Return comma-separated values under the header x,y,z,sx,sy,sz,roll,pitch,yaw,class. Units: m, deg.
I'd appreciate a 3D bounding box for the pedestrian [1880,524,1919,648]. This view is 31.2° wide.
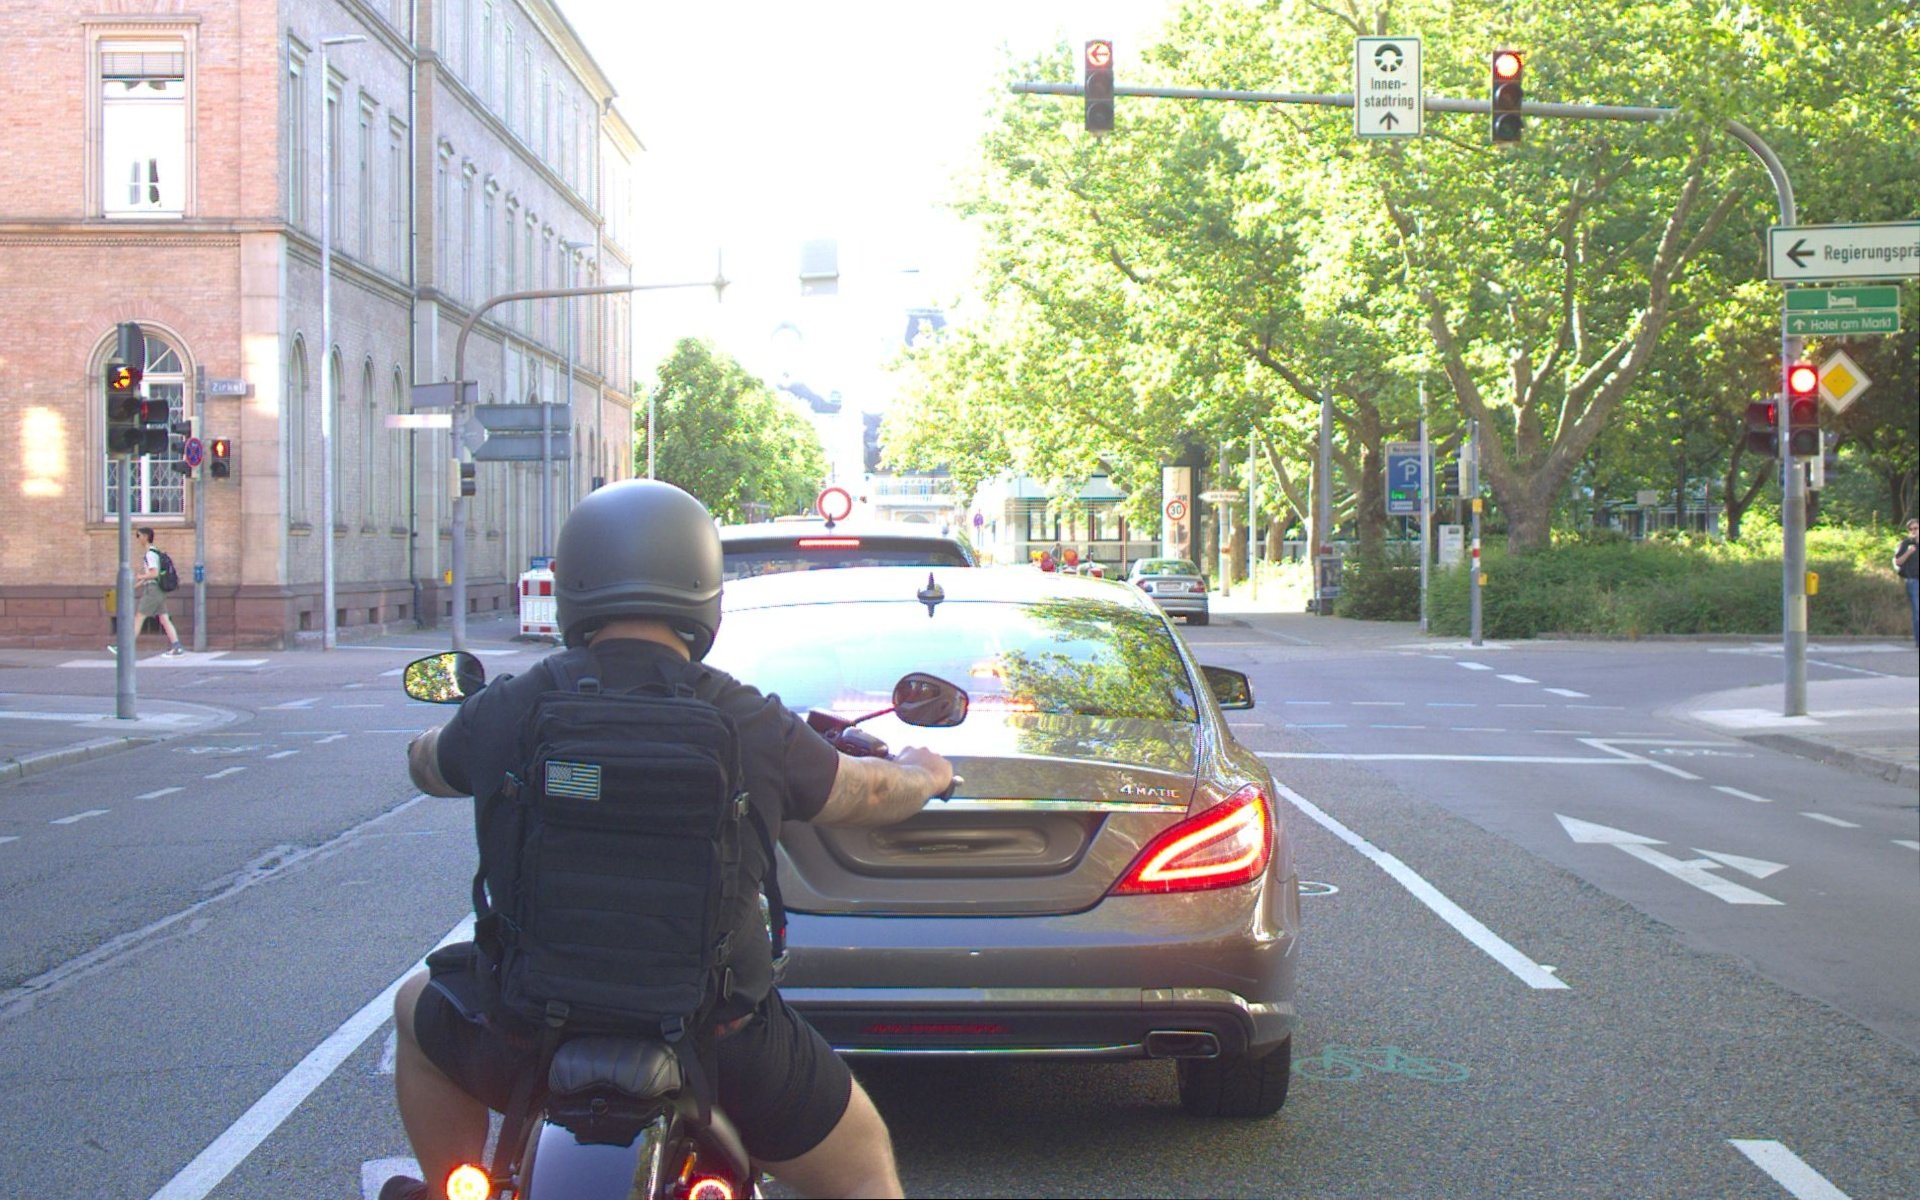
x,y,z,sx,sy,sz,roll,pitch,yaw,class
13.783,-0.207,49.703,0.737,1.772,0.728,1,0,30,pedestrian

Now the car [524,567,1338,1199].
x,y,z,sx,sy,sz,roll,pitch,yaw,class
-0.087,0.638,9.679,1.822,1.432,3.806,1,1,-1,car

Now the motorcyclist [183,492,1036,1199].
x,y,z,sx,sy,sz,roll,pitch,yaw,class
-0.485,0.633,5.291,1.099,1.560,1.071,1,0,6,motorcyclist

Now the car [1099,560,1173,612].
x,y,z,sx,sy,sz,roll,pitch,yaw,class
4.451,-0.367,87.228,1.631,1.255,3.716,1,1,-1,car

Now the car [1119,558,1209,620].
x,y,z,sx,sy,sz,roll,pitch,yaw,class
4.299,-0.239,72.737,1.631,1.255,3.716,1,1,-1,car

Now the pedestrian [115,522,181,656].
x,y,z,sx,sy,sz,roll,pitch,yaw,class
-11.155,-0.153,47.219,0.738,1.814,0.643,1,0,-1,pedestrian

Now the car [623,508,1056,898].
x,y,z,sx,sy,sz,roll,pitch,yaw,class
-0.546,0.430,16.957,1.863,1.672,4.000,1,1,-1,car

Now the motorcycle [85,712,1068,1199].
x,y,z,sx,sy,sz,roll,pitch,yaw,class
-0.471,0.836,5.515,1.118,1.203,2.212,1,1,6,motorcycle
